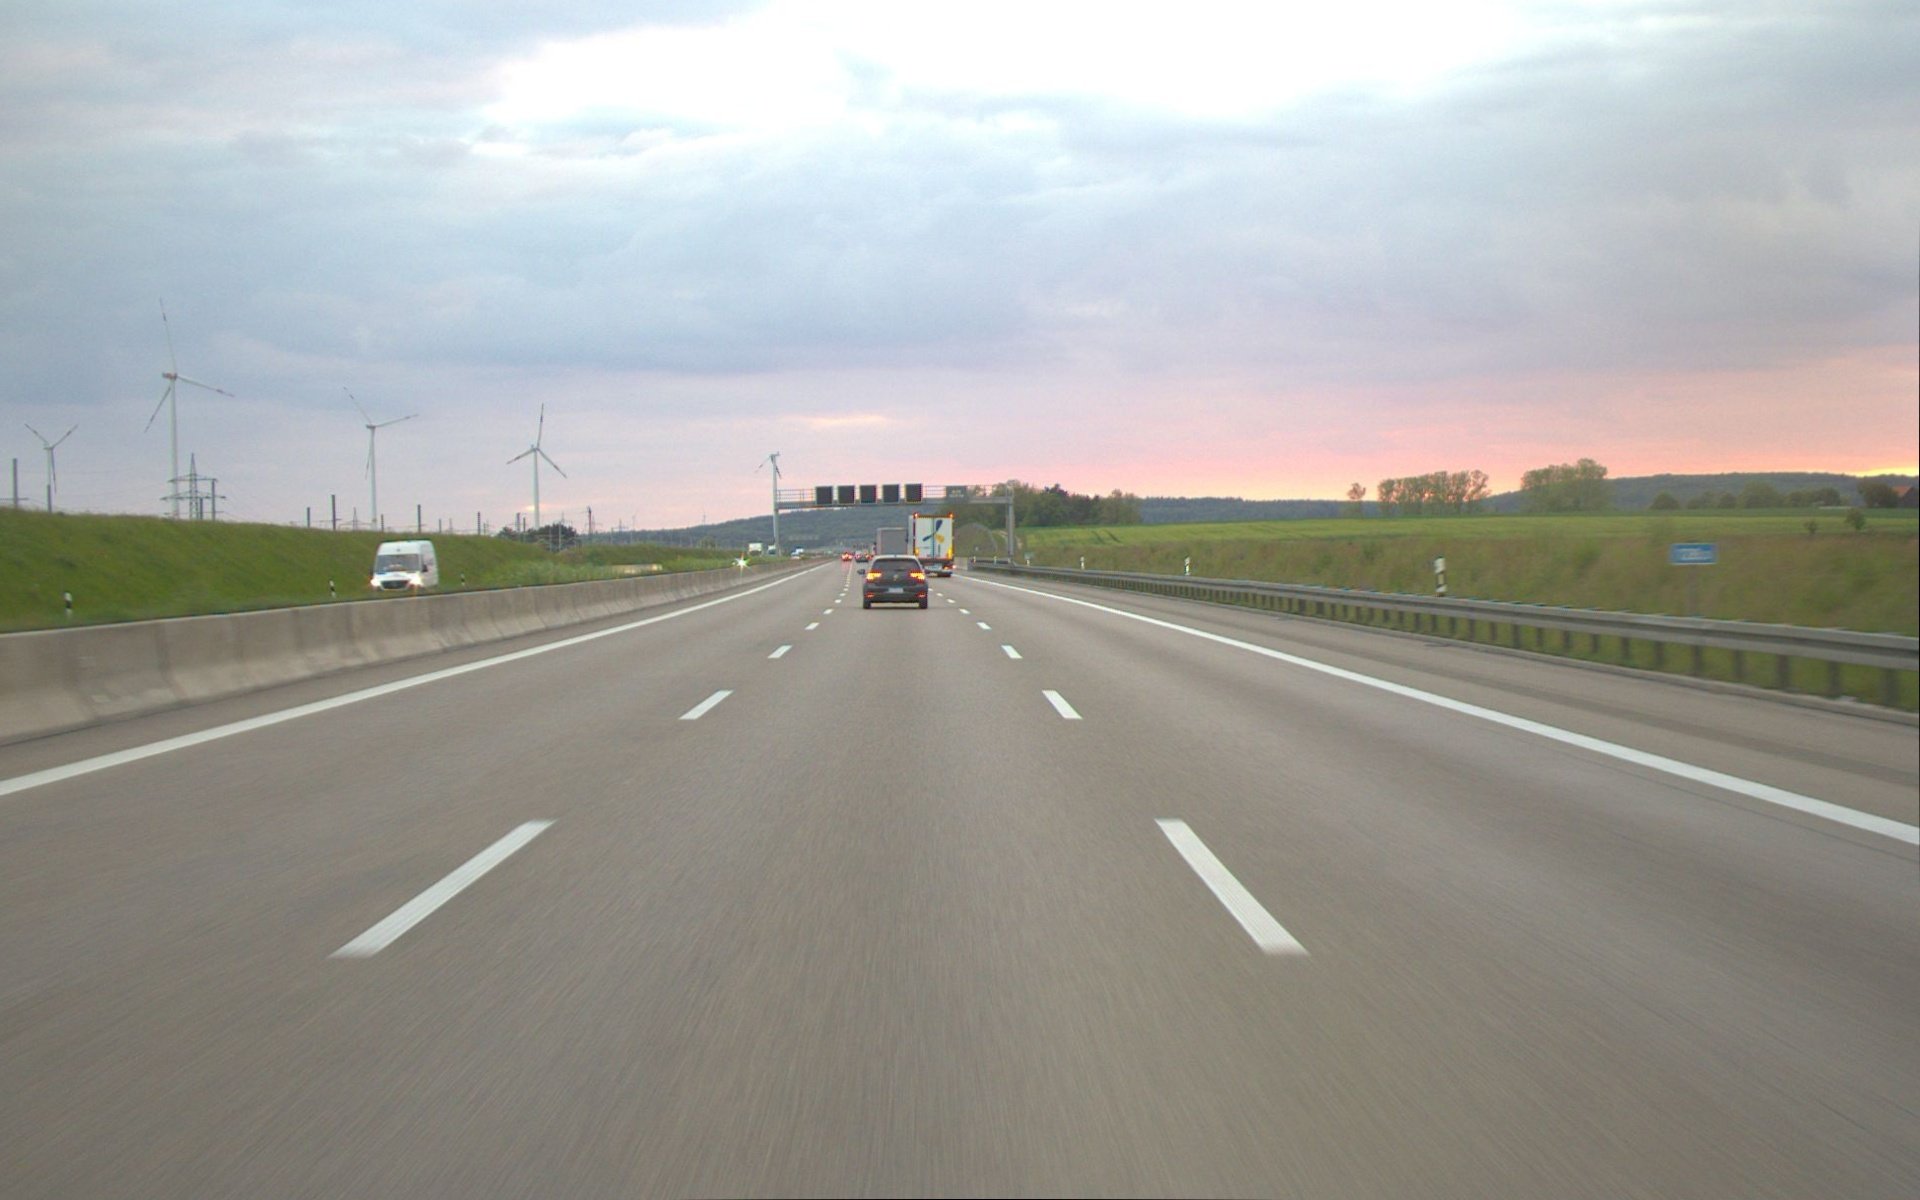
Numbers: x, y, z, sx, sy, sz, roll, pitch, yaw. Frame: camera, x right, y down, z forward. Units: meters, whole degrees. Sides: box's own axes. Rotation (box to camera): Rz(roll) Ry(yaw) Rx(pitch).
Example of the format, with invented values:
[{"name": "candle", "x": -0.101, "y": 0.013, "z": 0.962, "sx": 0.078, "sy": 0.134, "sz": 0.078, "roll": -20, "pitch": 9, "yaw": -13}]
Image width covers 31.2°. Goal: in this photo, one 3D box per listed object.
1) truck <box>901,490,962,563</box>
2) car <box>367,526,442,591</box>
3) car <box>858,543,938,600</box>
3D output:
[{"name": "truck", "x": -1.926, "y": -4.755, "z": 224.115, "sx": 3.675, "sy": 4.549, "sz": 10.982, "roll": -1, "pitch": 1, "yaw": -1}, {"name": "car", "x": -22.662, "y": -1.702, "z": 140.569, "sx": 1.993, "sy": 2.538, "sz": 7.378, "roll": -1, "pitch": 1, "yaw": -1}, {"name": "car", "x": -1.640, "y": -0.781, "z": 92.567, "sx": 1.987, "sy": 1.425, "sz": 4.000, "roll": -1, "pitch": 1, "yaw": 1}]
